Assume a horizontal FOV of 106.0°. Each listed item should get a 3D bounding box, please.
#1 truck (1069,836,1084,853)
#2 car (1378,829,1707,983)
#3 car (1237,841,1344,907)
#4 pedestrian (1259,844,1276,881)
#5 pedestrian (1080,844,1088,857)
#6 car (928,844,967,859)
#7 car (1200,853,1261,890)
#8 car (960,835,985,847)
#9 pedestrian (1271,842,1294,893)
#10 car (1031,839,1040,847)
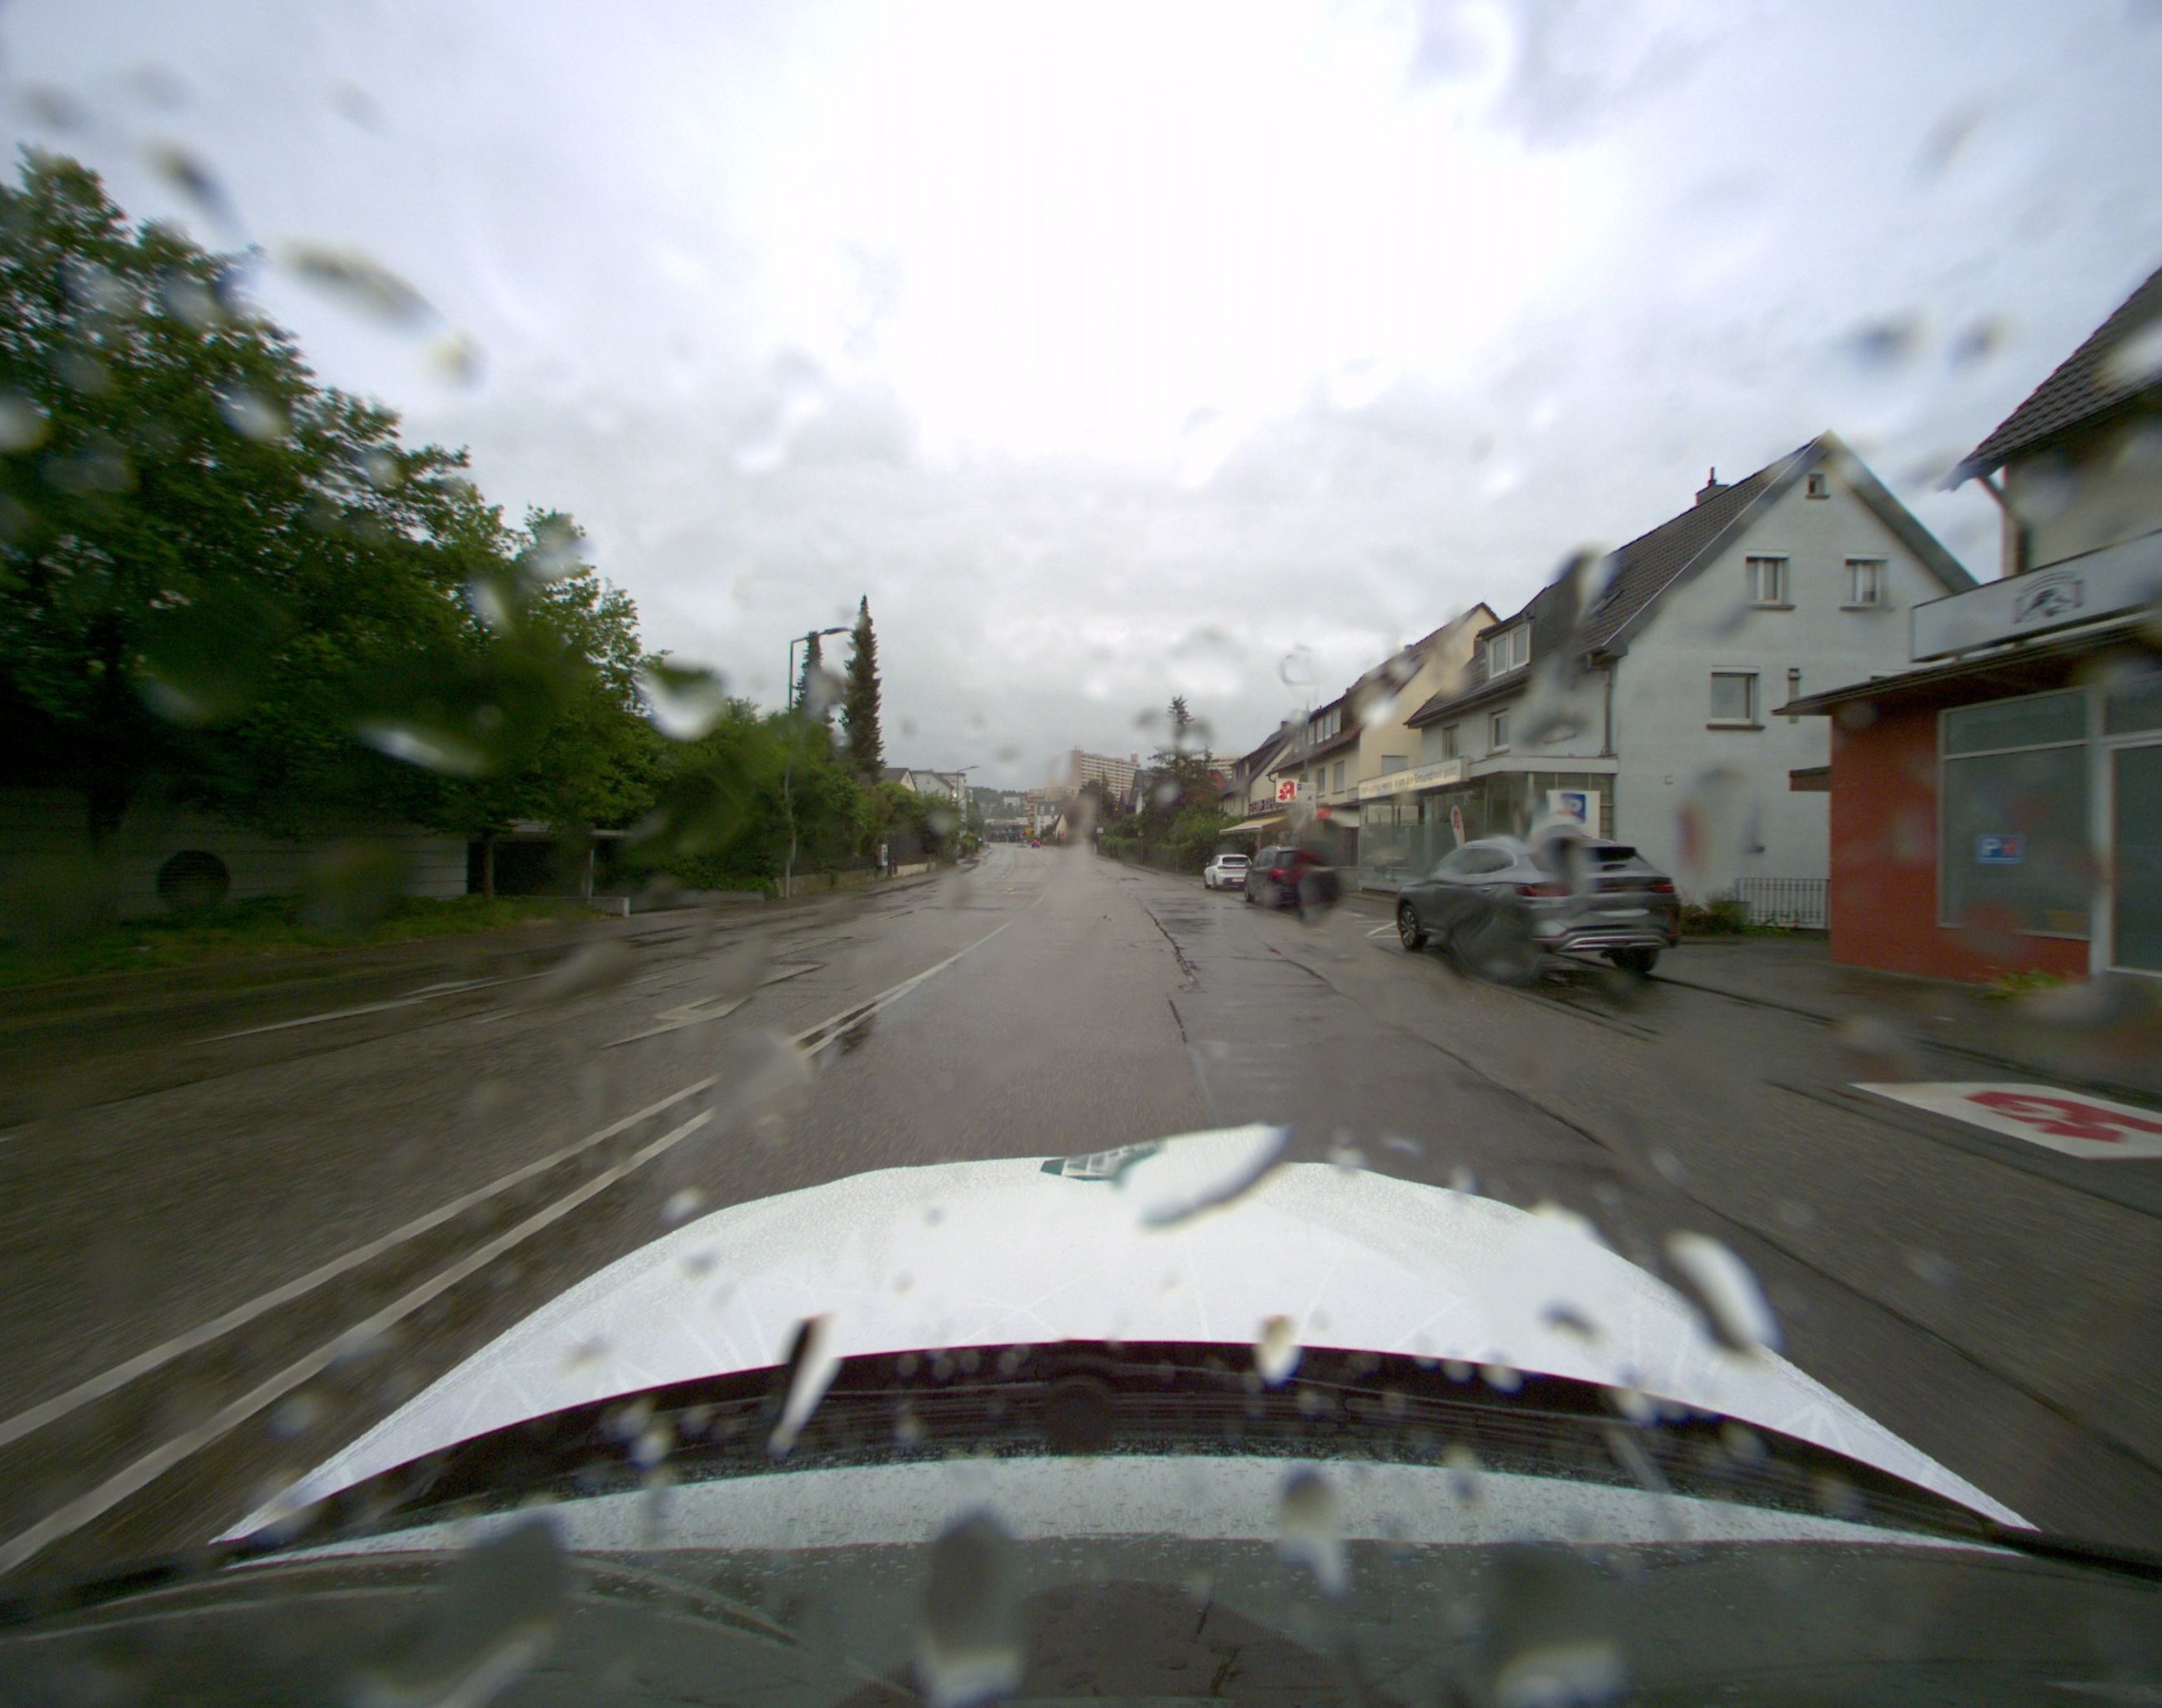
[{"bbox_3d":[-0.625,-1.305,114.616,1.988,2.303,3.999,0,1,-1],"label":"truck"},{"bbox_3d":[5.952,0.599,11.361,1.869,1.643,4.792,-2,-1,0],"label":"car"},{"bbox_3d":[6.028,0.567,24.095,2.028,1.695,4.965,-2,-1,2],"label":"car"},{"bbox_3d":[8.463,0.386,36.882,0.554,1.678,0.511,1,0,-37],"label":"pedestrian"},{"bbox_3d":[0.371,-0.485,110.159,0.826,1.797,0.794,0,1,-23],"label":"pedestrian"},{"bbox_3d":[-15.150,-0.322,92.325,3.959,1.686,1.815,0,0,13],"label":"car"},{"bbox_3d":[6.181,0.684,34.101,1.809,1.448,4.203,-1,0,1],"label":"car"},{"bbox_3d":[-20.963,-2.494,157.405,4.496,2.013,2.005,2,1,9],"label":"car"},{"bbox_3d":[7.586,0.485,30.633,0.616,1.891,0.651,1,0,36],"label":"pedestrian"},{"bbox_3d":[-9.454,-2.221,169.785,1.790,1.669,3.996,0,0,-3],"label":"car"}]
